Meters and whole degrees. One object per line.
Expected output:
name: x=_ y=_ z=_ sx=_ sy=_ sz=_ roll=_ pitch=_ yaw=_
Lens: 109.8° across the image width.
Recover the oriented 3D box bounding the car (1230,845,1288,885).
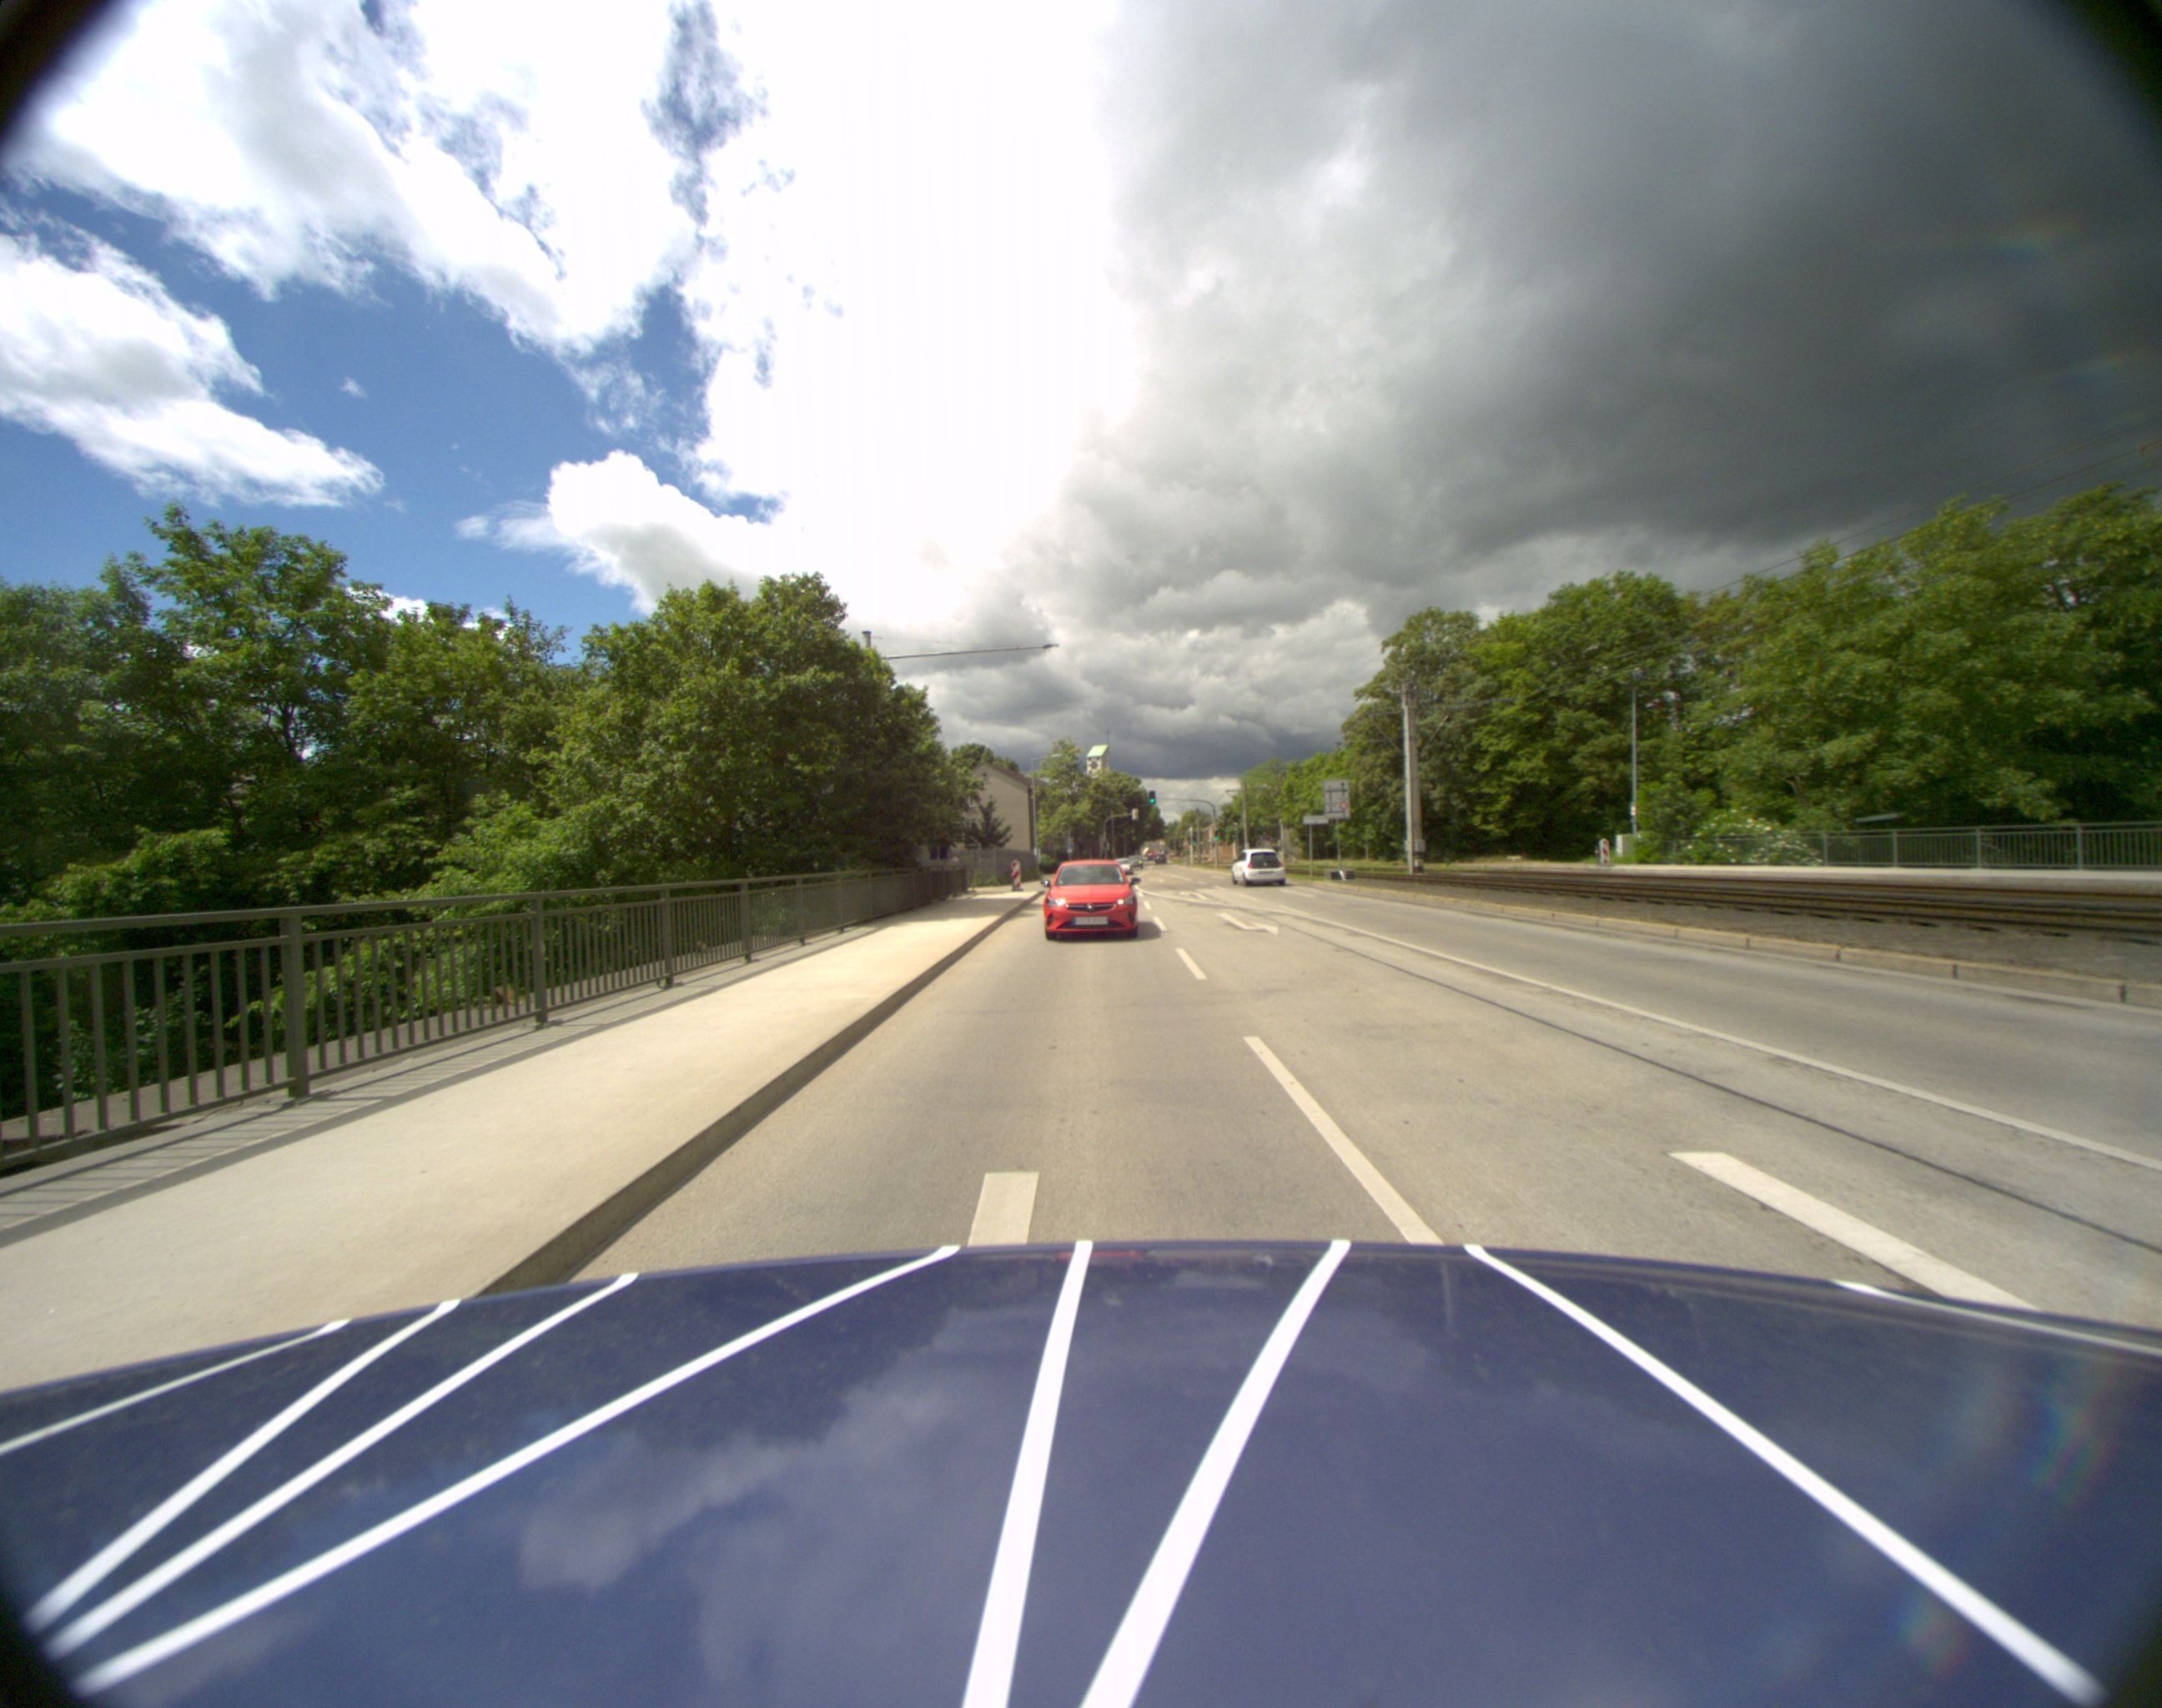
car: x=7.491 y=0.424 z=32.225 sx=1.597 sy=1.518 sz=3.655 roll=-2 pitch=1 yaw=1

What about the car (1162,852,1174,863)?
car: x=14.357 y=0.538 z=125.864 sx=1.711 sy=1.666 sz=4.229 roll=-4 pitch=0 yaw=4

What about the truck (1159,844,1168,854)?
truck: x=23.507 y=-1.475 z=215.988 sx=2.095 sy=2.723 sz=5.098 roll=-4 pitch=0 yaw=3

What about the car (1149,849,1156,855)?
car: x=19.955 y=-0.464 z=213.120 sx=1.584 sy=1.476 sz=3.809 roll=-4 pitch=0 yaw=9

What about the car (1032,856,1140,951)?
car: x=0.217 y=0.798 z=14.129 sx=1.665 sy=1.512 sz=3.787 roll=0 pitch=0 yaw=6

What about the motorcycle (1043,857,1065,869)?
motorcycle: x=-3.039 y=0.979 z=85.463 sx=2.207 sy=1.275 sz=0.681 roll=-2 pitch=1 yaw=14
